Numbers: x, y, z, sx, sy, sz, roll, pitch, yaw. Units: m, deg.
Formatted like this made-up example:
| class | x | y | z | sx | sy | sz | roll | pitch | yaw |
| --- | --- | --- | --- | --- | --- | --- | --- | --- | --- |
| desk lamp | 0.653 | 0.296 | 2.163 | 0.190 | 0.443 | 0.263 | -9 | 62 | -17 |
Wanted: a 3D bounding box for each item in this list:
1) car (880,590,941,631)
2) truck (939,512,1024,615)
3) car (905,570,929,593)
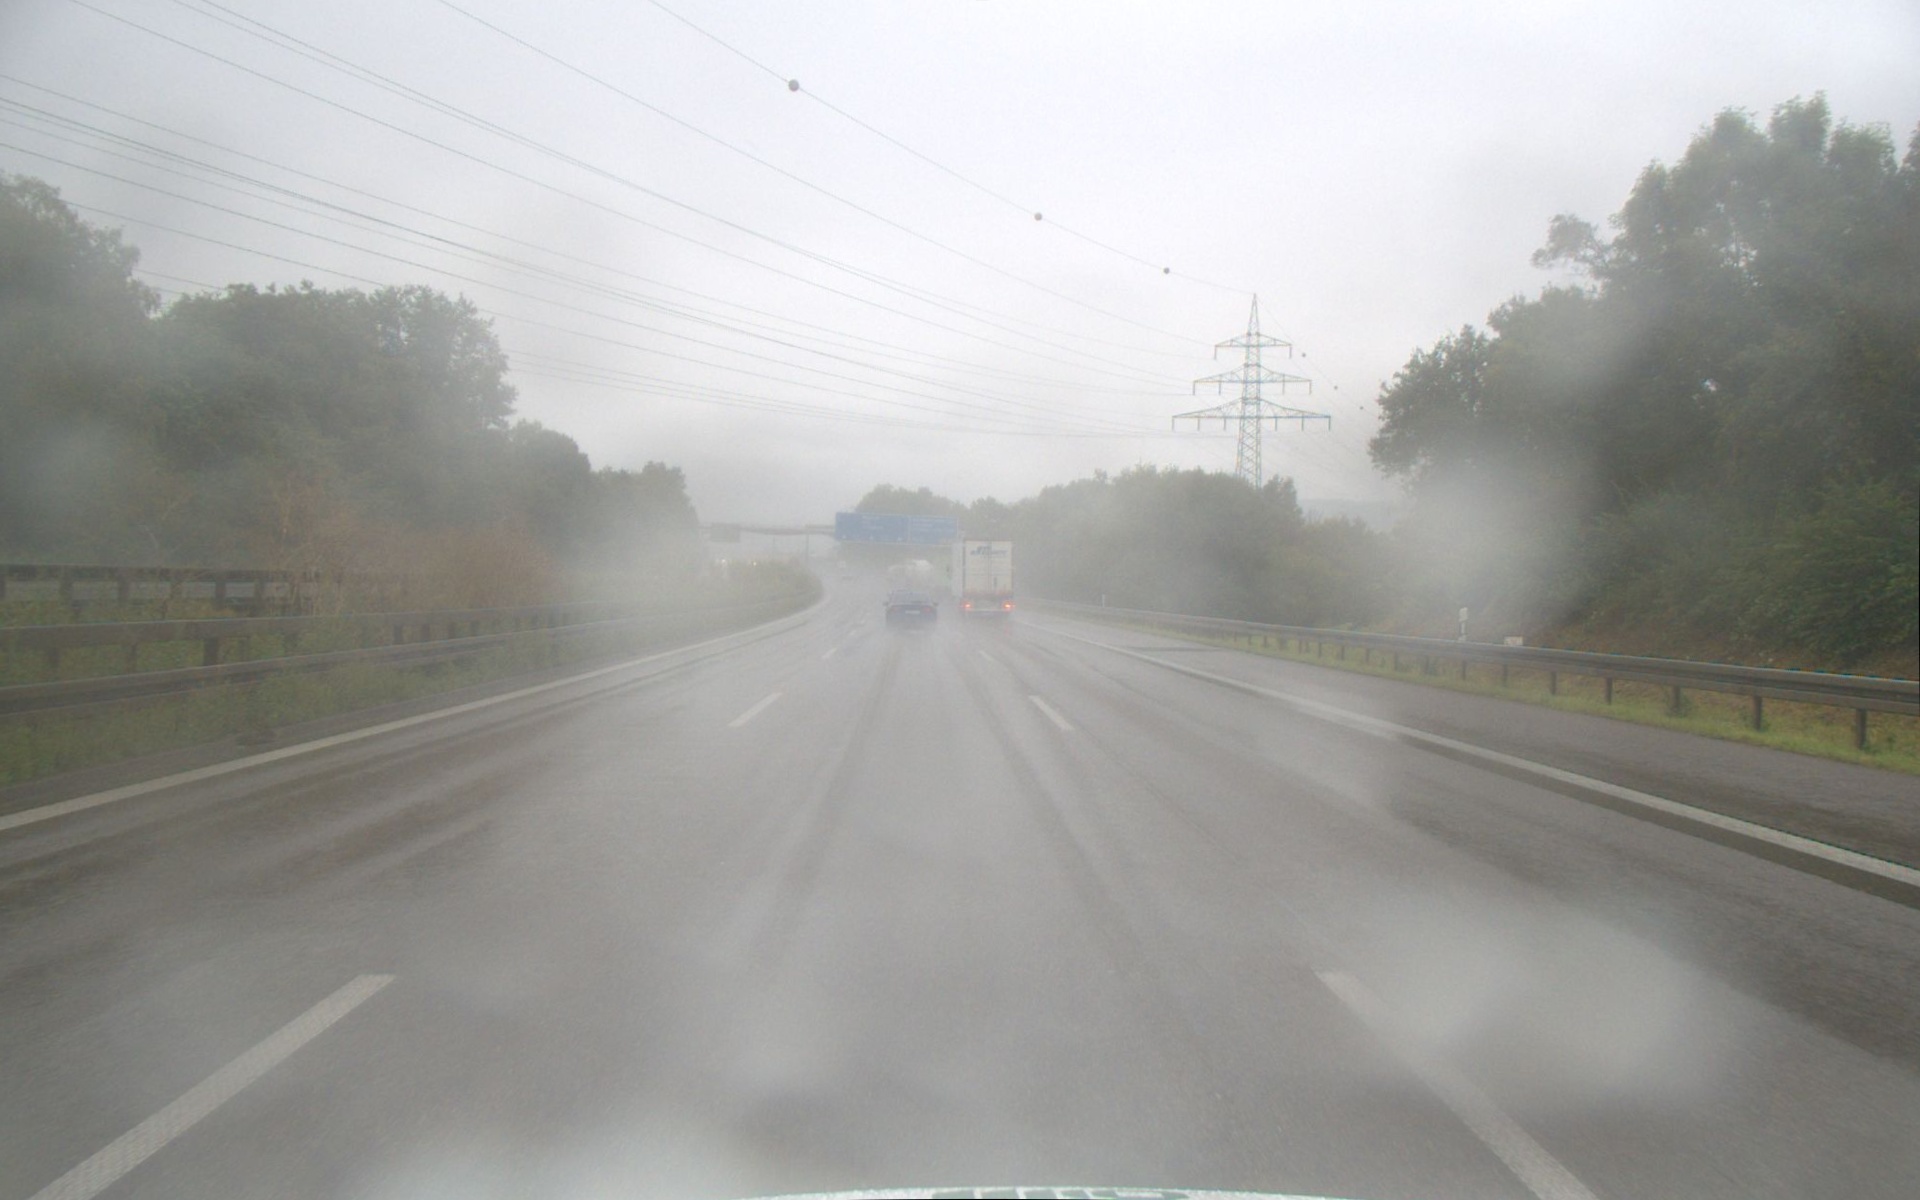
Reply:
| class | x | y | z | sx | sy | sz | roll | pitch | yaw |
| --- | --- | --- | --- | --- | --- | --- | --- | --- | --- |
| car | -1.650 | 0.332 | 56.343 | 1.712 | 1.233 | 4.001 | 3 | 0 | 3 |
| truck | 1.258 | -1.884 | 90.516 | 4.168 | 5.059 | 17.343 | 0 | 0 | 1 |
| car | -4.476 | -1.930 | 172.979 | 2.344 | 2.312 | 5.002 | 3 | 1 | -1 |
